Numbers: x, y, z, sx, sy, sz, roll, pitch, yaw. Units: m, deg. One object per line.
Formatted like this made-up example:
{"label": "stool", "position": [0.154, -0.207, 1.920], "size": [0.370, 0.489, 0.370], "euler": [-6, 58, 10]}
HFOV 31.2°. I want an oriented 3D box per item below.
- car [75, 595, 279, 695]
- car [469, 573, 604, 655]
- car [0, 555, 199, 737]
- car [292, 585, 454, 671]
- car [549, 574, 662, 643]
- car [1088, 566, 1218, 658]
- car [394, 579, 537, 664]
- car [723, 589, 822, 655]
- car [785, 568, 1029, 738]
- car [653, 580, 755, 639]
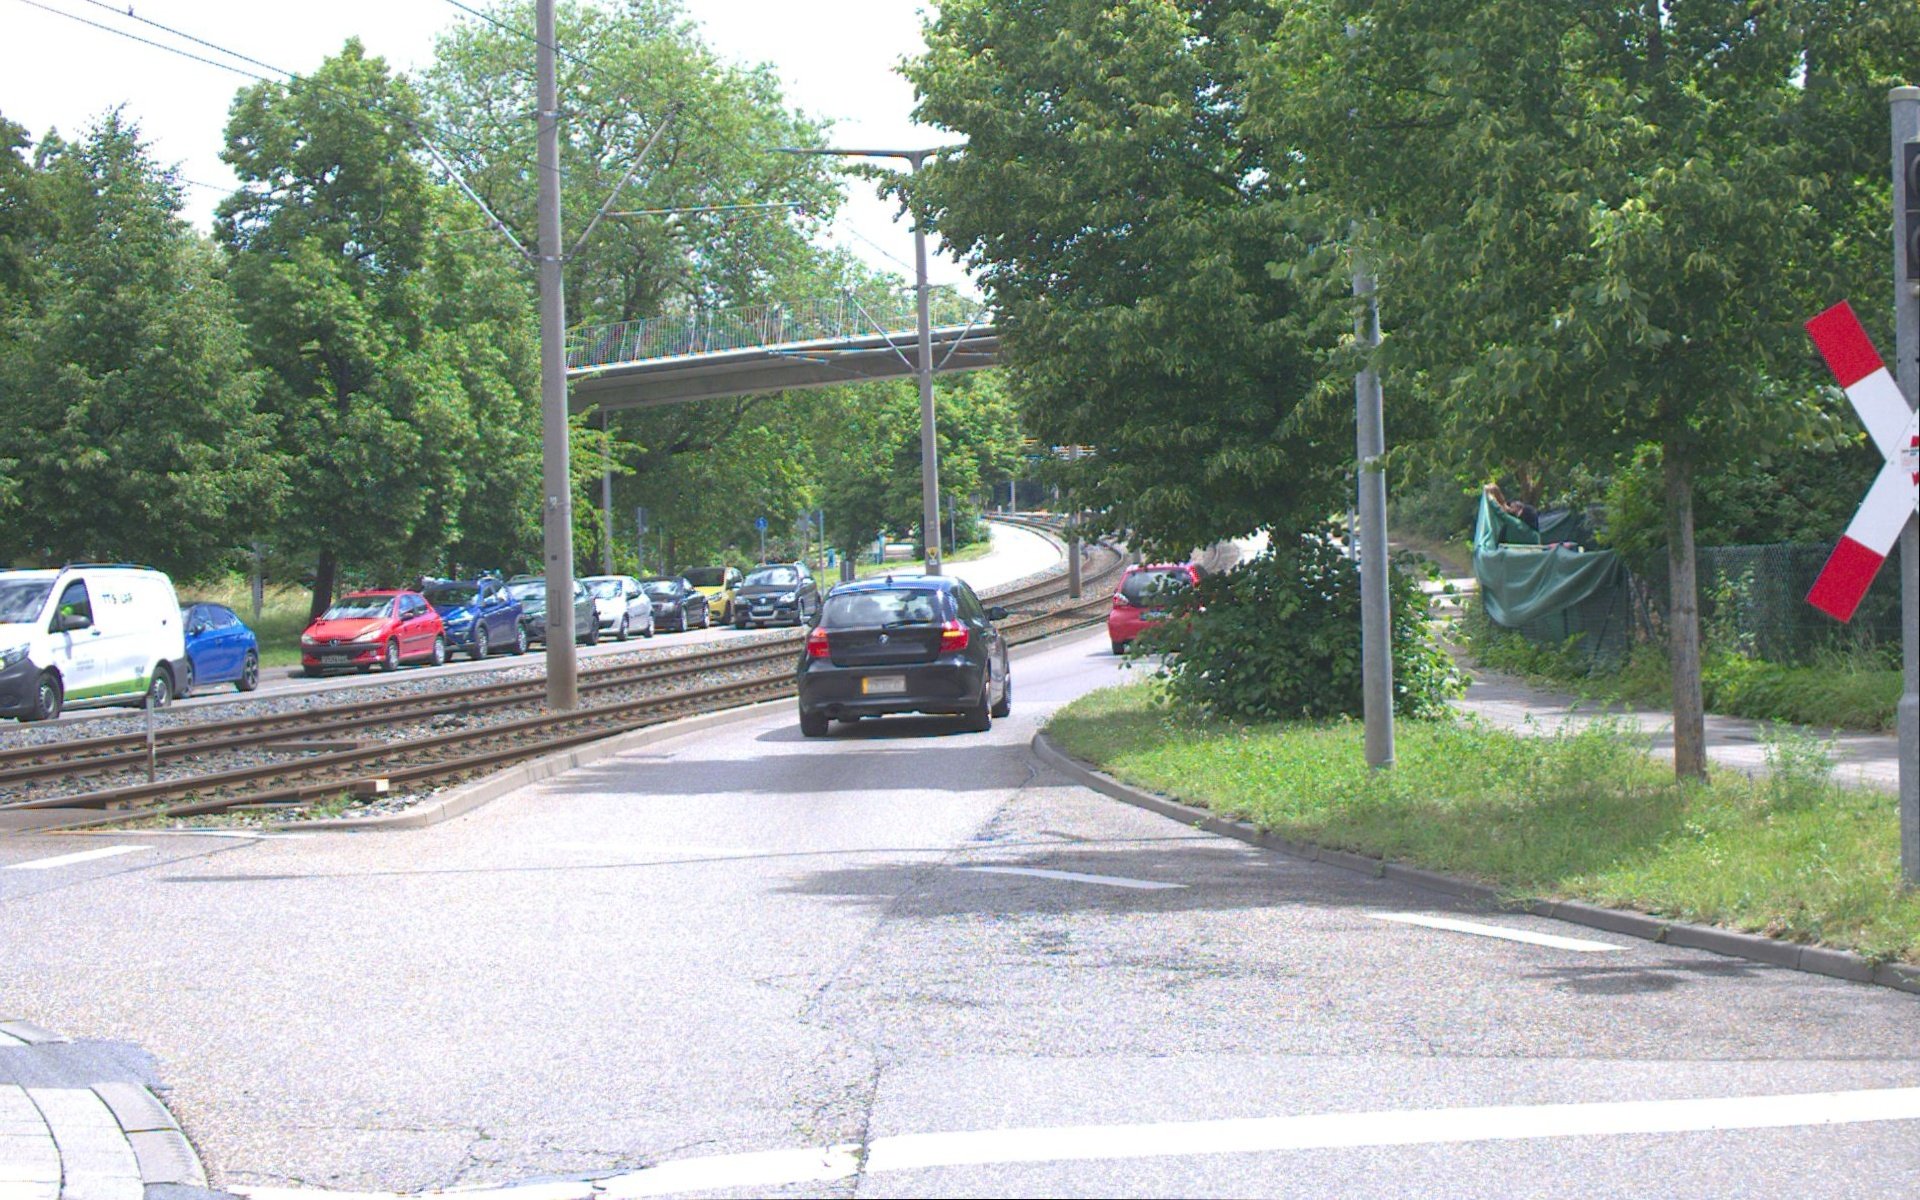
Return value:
{"label": "car", "position": [-11.864, 0.684, 52.348], "size": [1.613, 1.456, 4.005], "euler": [0, -1, 10]}
{"label": "car", "position": [-8.843, 0.274, 72.090], "size": [1.643, 1.617, 4.124], "euler": [-2, 0, 10]}
{"label": "car", "position": [-10.948, 0.541, 40.787], "size": [1.876, 2.012, 5.232], "euler": [0, -1, 10]}
{"label": "car", "position": [-10.492, 0.515, 61.663], "size": [1.613, 1.489, 4.046], "euler": [0, -1, 10]}
{"label": "car", "position": [-7.980, 0.214, 77.755], "size": [1.594, 1.489, 4.190], "euler": [0, -1, 8]}
{"label": "car", "position": [3.176, 0.202, 56.034], "size": [1.625, 1.438, 3.419], "euler": [0, -1, 12]}
{"label": "car", "position": [-9.588, 0.435, 66.965], "size": [1.558, 1.590, 4.158], "euler": [0, -1, 10]}
{"label": "car", "position": [-4.567, 0.551, 84.062], "size": [1.614, 1.569, 3.998], "euler": [0, -1, 9]}
{"label": "car", "position": [-0.430, 0.443, 32.020], "size": [1.709, 1.455, 3.959], "euler": [0, 1, 8]}
{"label": "car", "position": [-6.495, 0.252, 87.612], "size": [1.690, 1.445, 3.896], "euler": [0, -1, 10]}
